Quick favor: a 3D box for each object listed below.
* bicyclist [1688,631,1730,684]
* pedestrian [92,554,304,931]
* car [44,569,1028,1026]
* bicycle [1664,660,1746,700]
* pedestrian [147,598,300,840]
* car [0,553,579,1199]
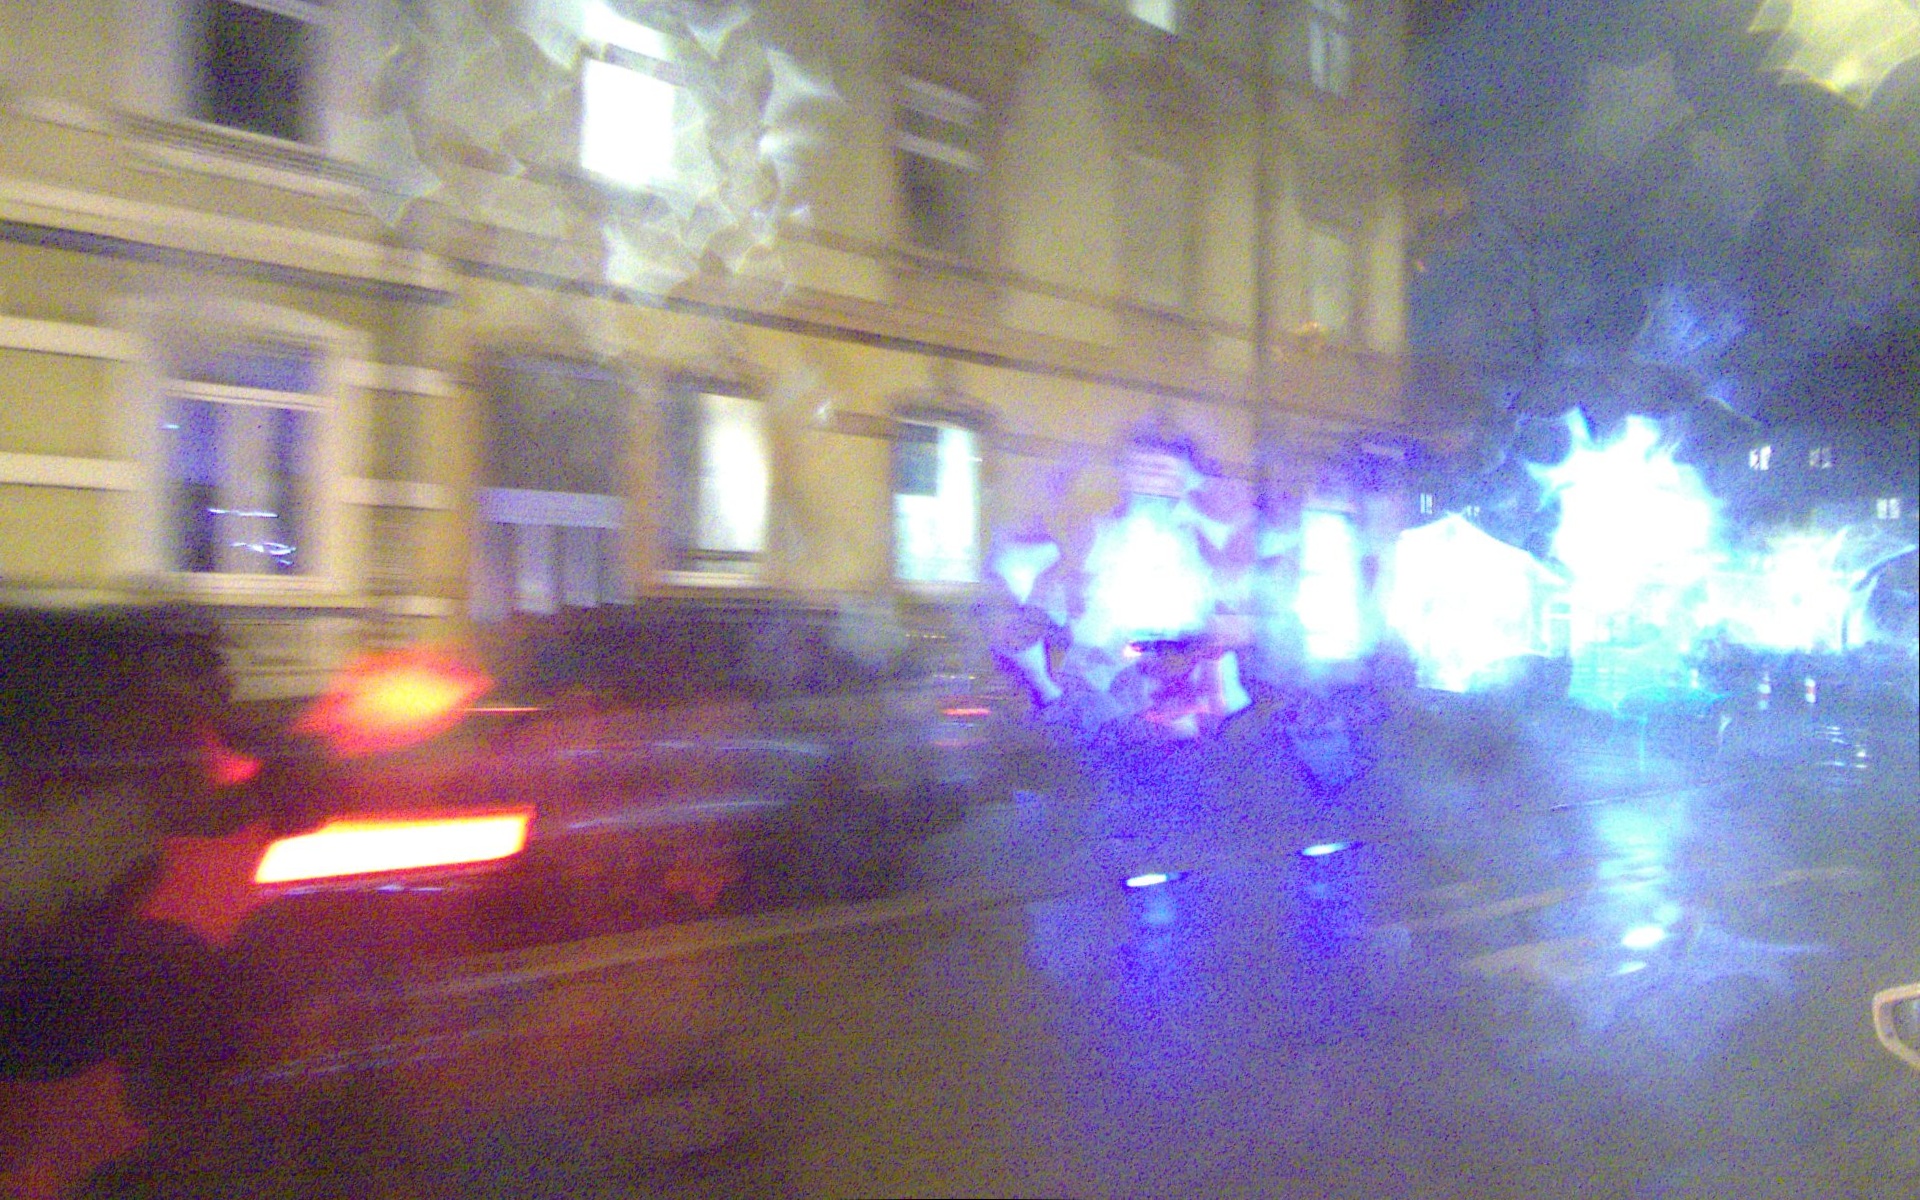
[{"bbox_3d":[20.528,1.561,27.544,0.880,1.398,0.503,2,1,36],"label":"bicyclist"},{"bbox_3d":[-4.413,0.755,5.837,0.647,2.000,0.768,2,1,32],"label":"pedestrian"},{"bbox_3d":[-1.989,0.812,5.798,4.542,1.739,1.823,1,-1,-31],"label":"car"},{"bbox_3d":[20.444,2.194,27.606,1.755,0.944,0.498,2,1,36],"label":"bicycle"},{"bbox_3d":[-5.211,0.792,7.109,0.649,1.573,0.758,2,1,45],"label":"pedestrian"},{"bbox_3d":[-3.154,0.759,1.439,4.536,1.639,1.905,2,-3,-40],"label":"car"}]
